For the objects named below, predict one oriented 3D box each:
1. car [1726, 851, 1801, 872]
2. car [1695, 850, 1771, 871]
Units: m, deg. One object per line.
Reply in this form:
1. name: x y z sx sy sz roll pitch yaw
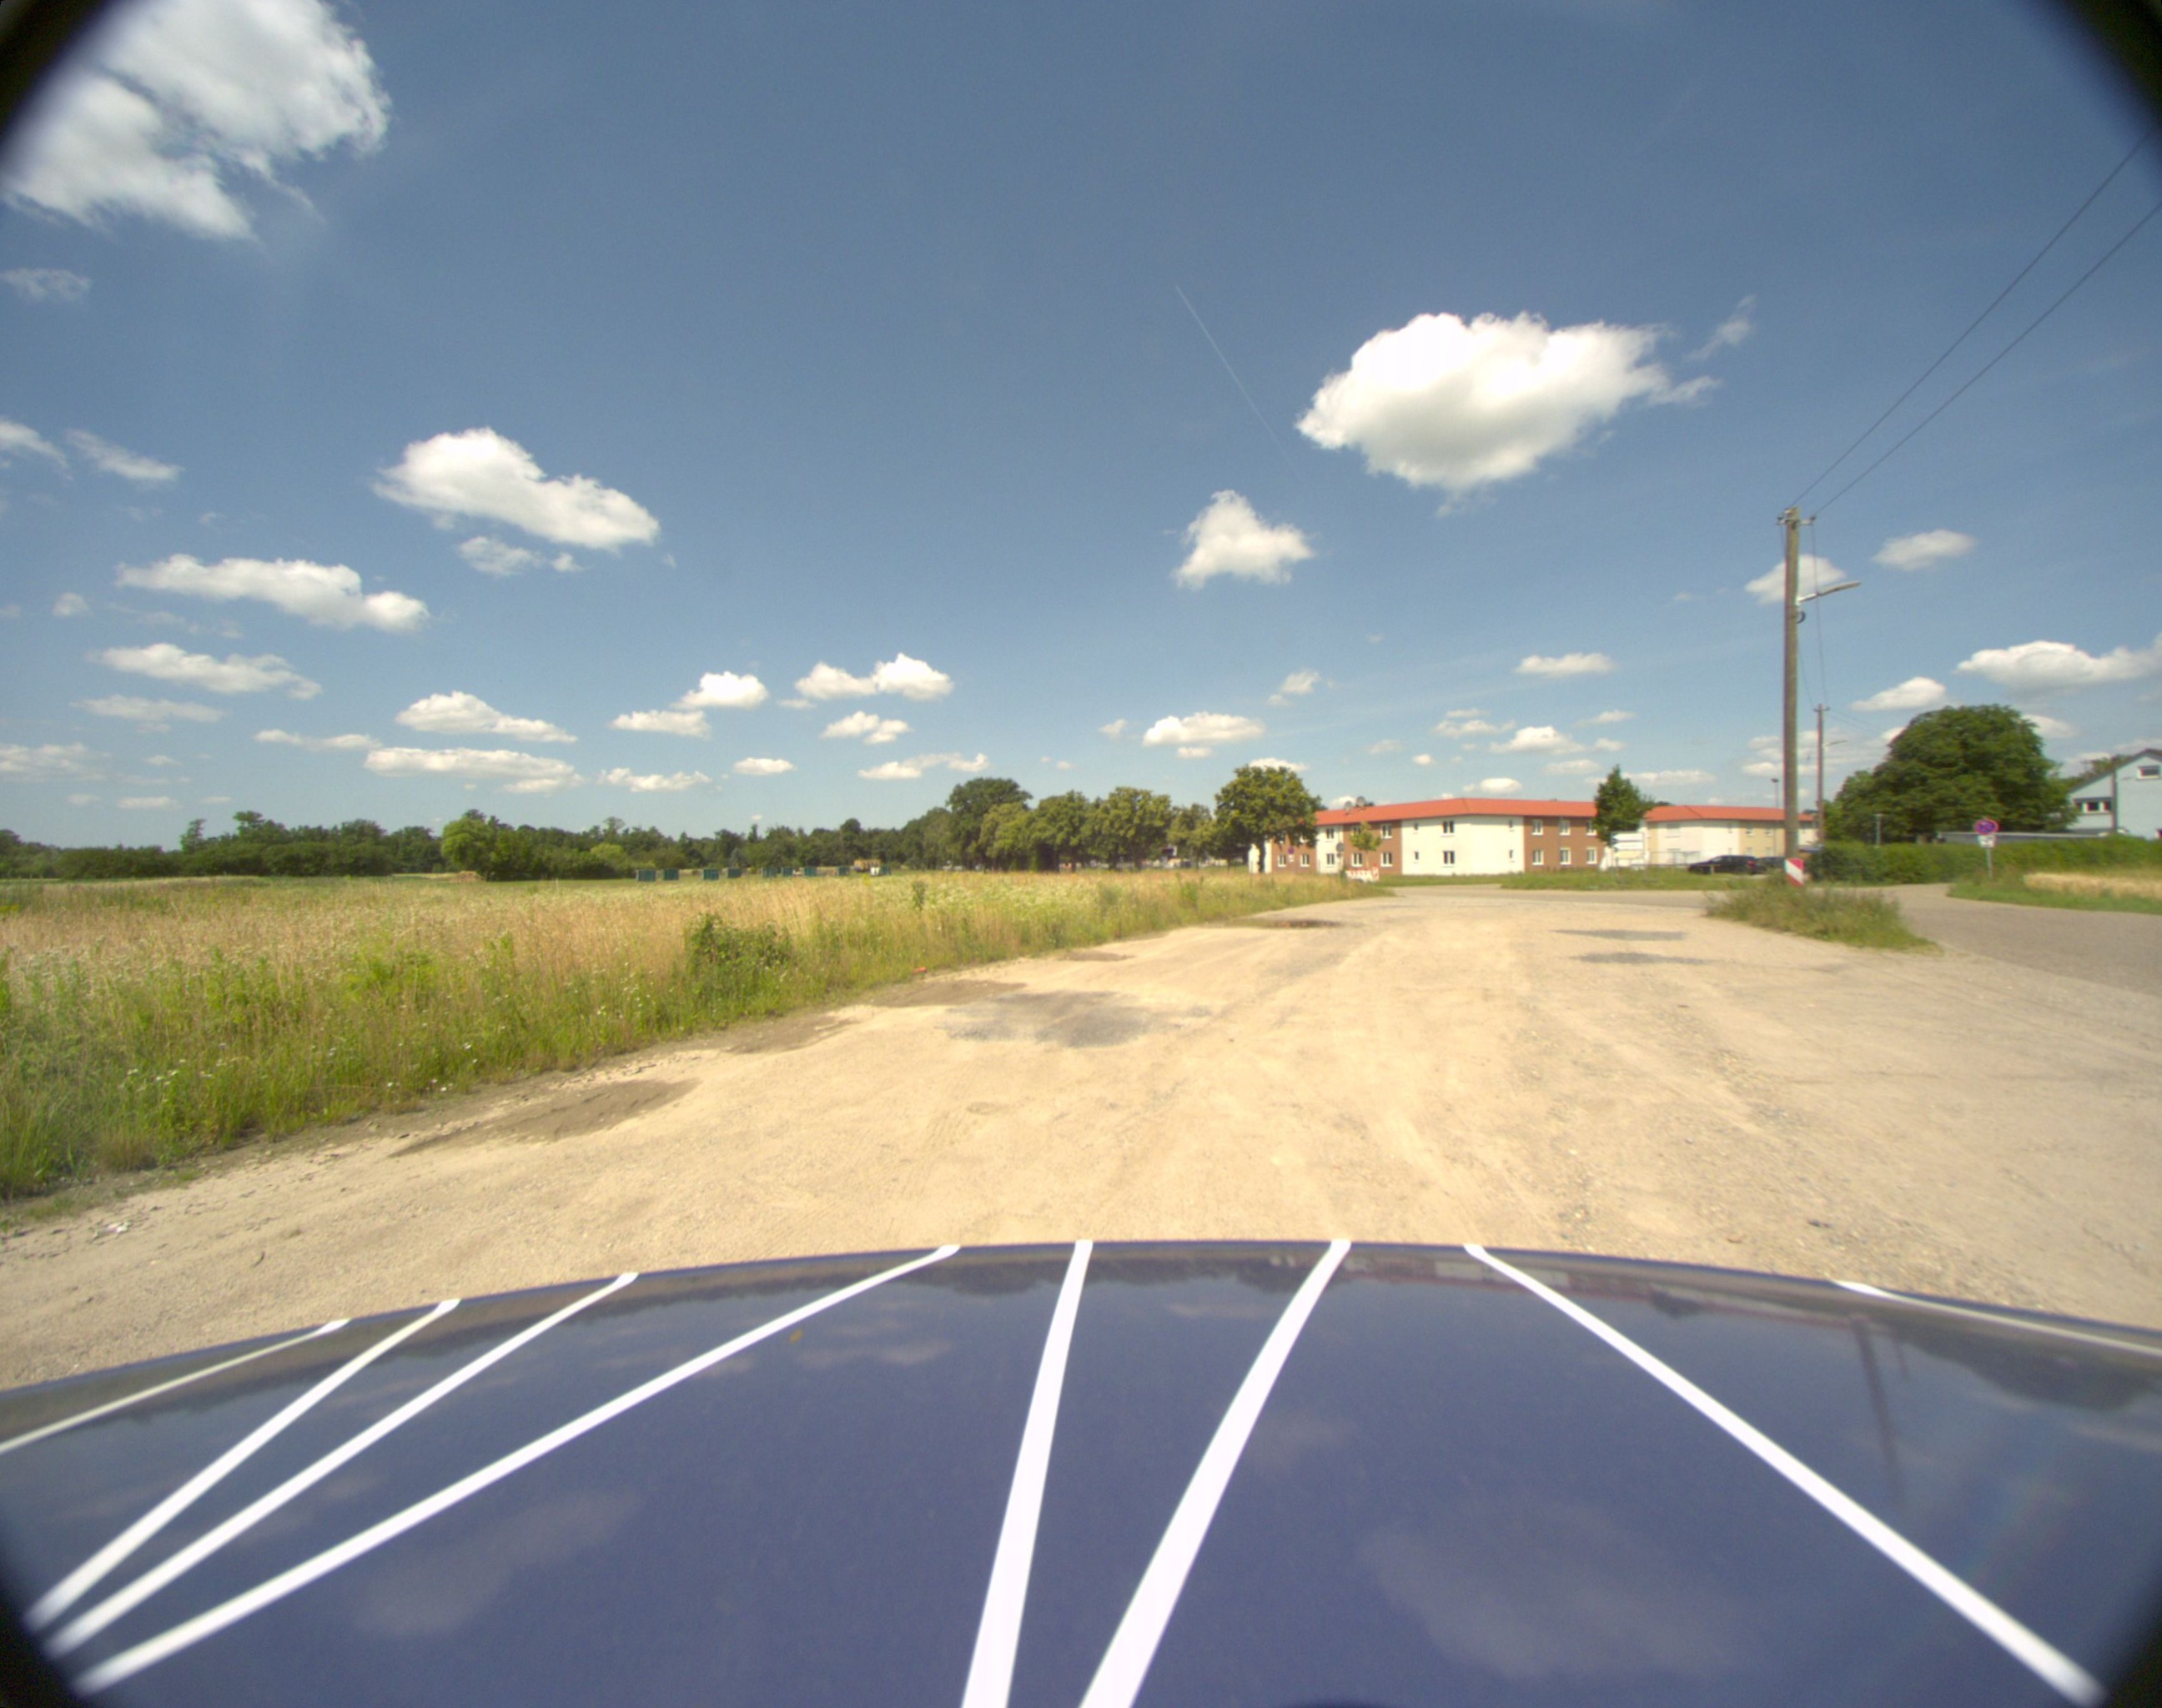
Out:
1. car: 55.827 0.600 62.205 2.003 1.605 4.140 0 0 -25
2. car: 52.122 0.513 60.831 2.003 1.605 4.140 0 0 -25
